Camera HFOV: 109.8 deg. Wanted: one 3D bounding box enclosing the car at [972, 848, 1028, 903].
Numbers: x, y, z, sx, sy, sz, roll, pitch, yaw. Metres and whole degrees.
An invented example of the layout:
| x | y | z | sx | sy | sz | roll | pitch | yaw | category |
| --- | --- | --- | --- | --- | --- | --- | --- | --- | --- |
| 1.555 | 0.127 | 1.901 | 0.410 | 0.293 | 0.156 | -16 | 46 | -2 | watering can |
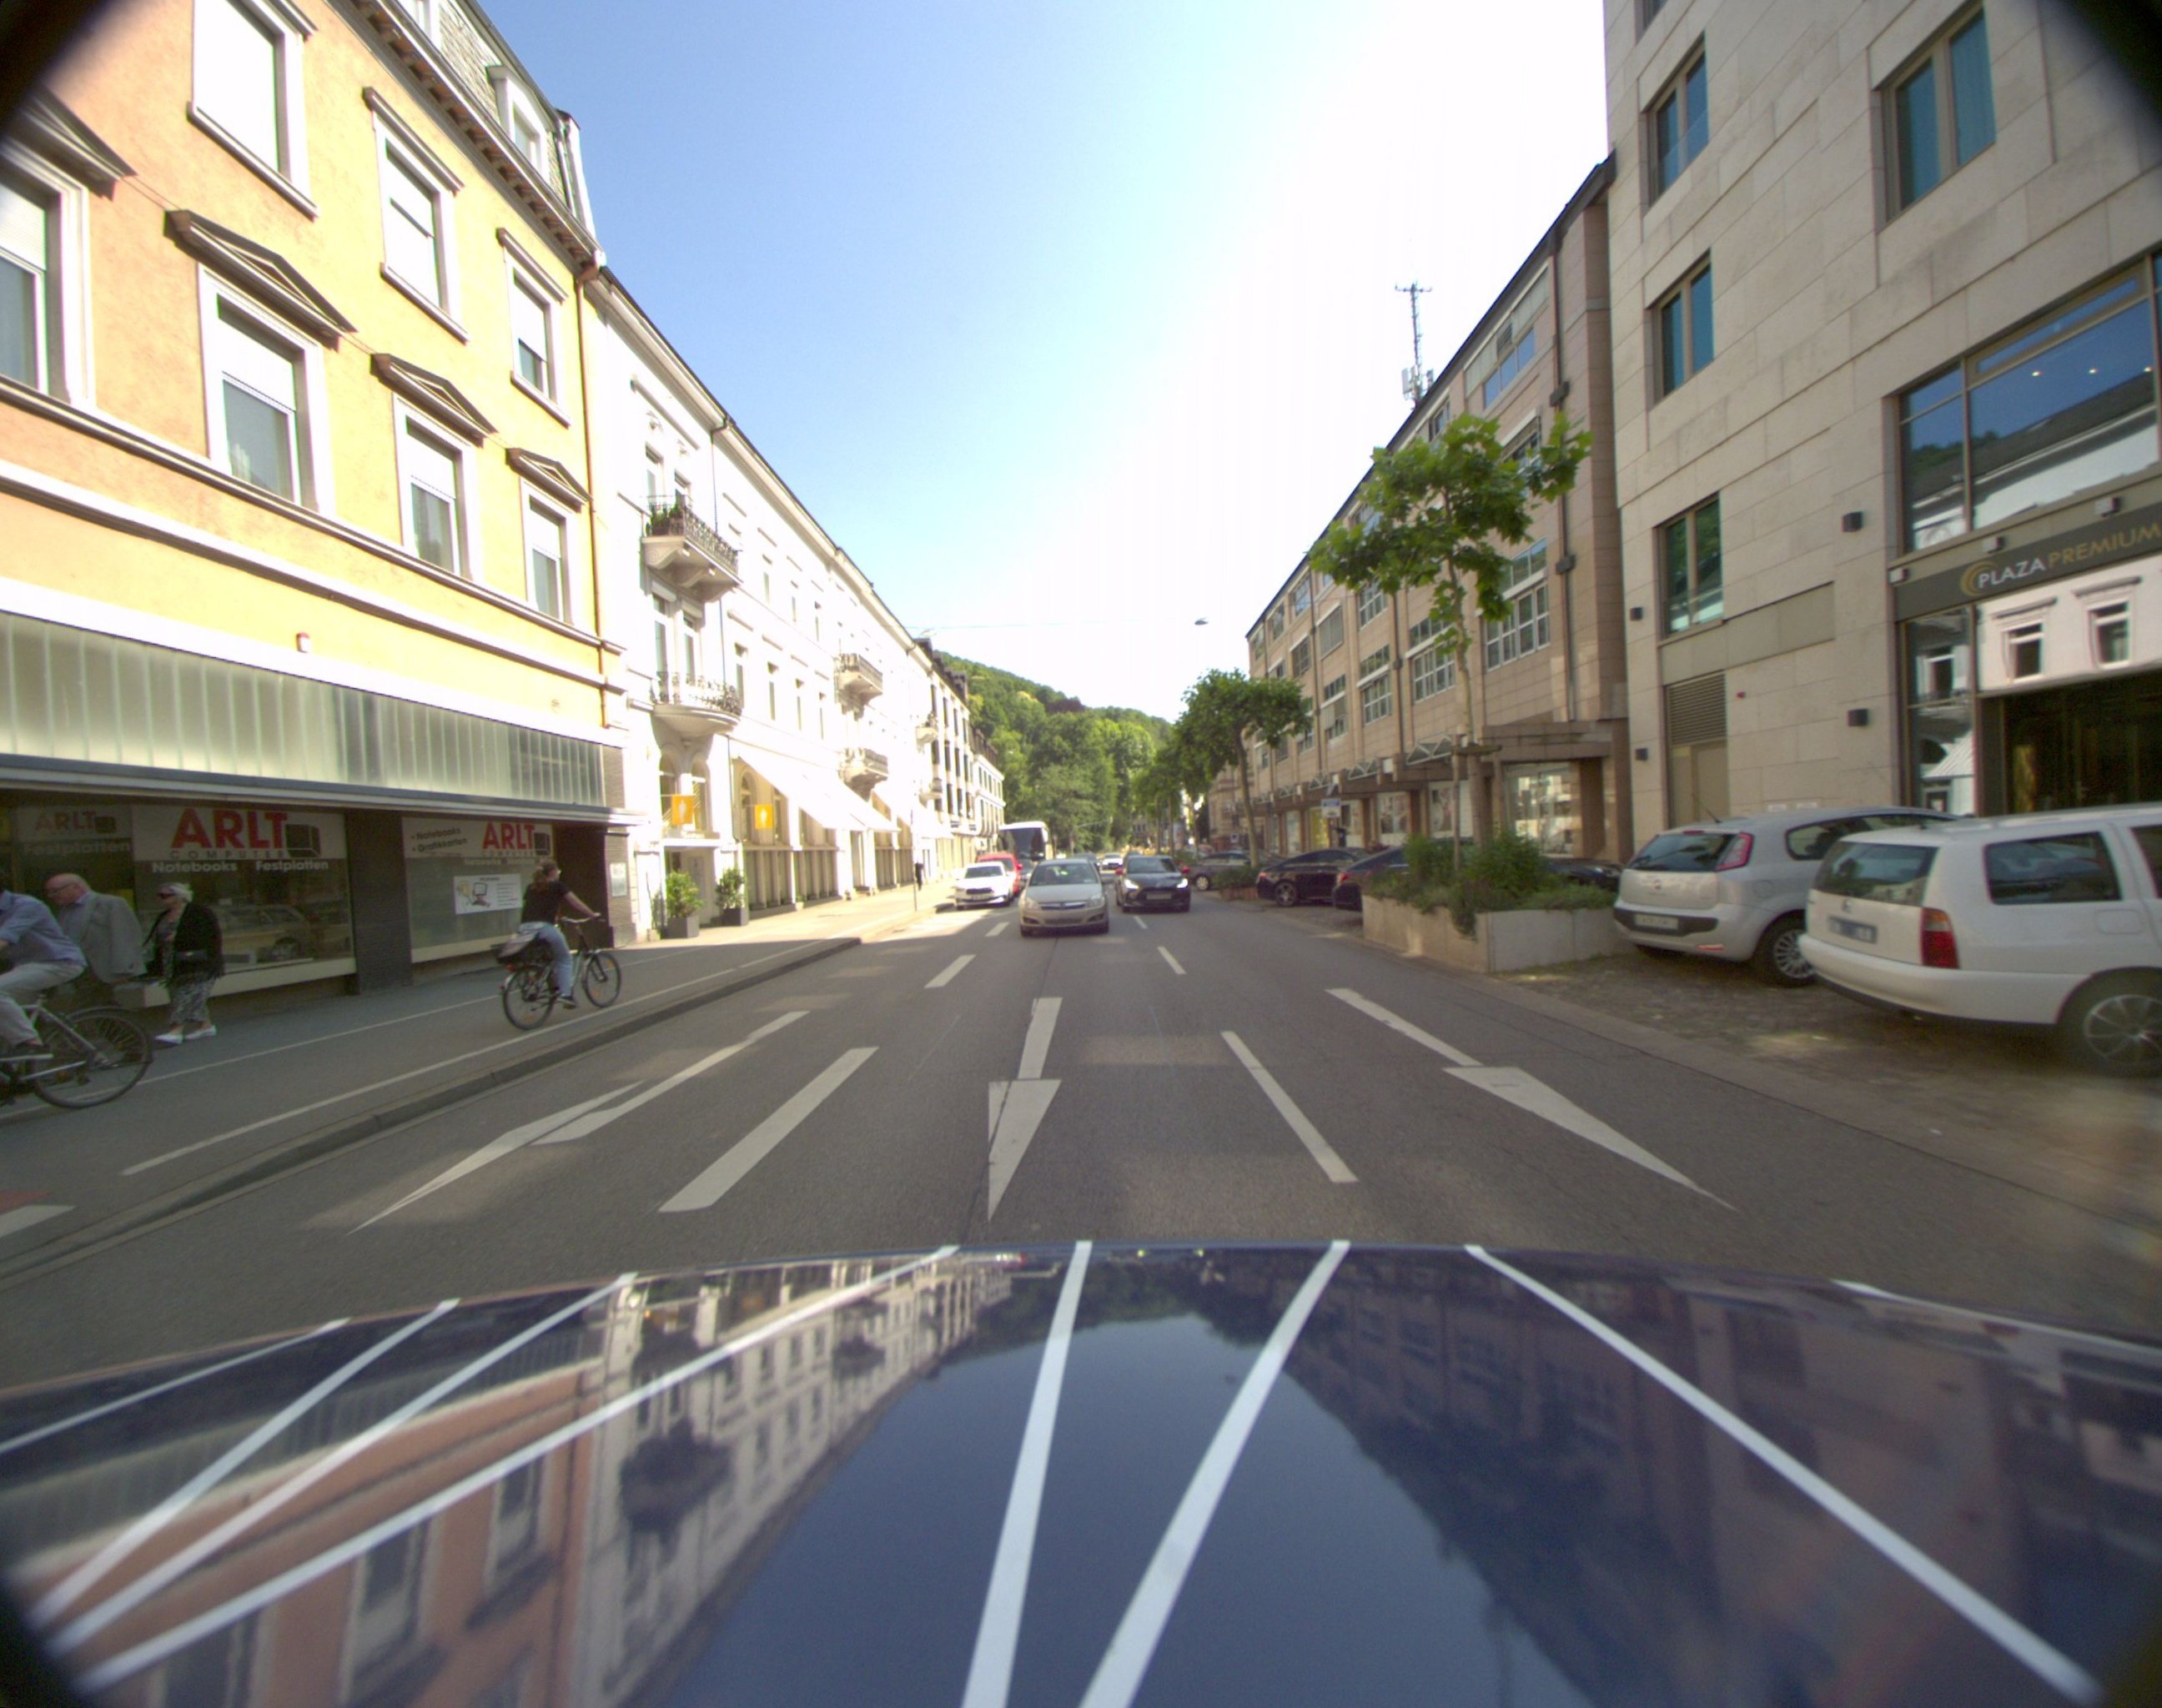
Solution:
| x | y | z | sx | sy | sz | roll | pitch | yaw | category |
| --- | --- | --- | --- | --- | --- | --- | --- | --- | --- |
| -3.271 | 0.851 | 31.456 | 1.703 | 1.900 | 4.607 | -7 | 0 | -1 | car |

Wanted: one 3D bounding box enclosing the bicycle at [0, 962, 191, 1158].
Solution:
| x | y | z | sx | sy | sz | roll | pitch | yaw | category |
| --- | --- | --- | --- | --- | --- | --- | --- | --- | --- |
| -7.338 | 1.413 | 4.962 | 0.748 | 1.111 | 1.918 | -2 | 0 | -1 | bicycle |

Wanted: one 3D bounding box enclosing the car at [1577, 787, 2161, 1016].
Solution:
| x | y | z | sx | sy | sz | roll | pitch | yaw | category |
| --- | --- | --- | --- | --- | --- | --- | --- | --- | --- |
| 7.401 | 0.368 | 7.302 | 3.997 | 1.519 | 1.819 | -6 | 2 | 0 | car |

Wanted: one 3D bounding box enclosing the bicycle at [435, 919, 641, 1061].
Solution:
| x | y | z | sx | sy | sz | roll | pitch | yaw | category |
| --- | --- | --- | --- | --- | --- | --- | --- | --- | --- |
| -5.667 | 1.359 | 8.128 | 0.596 | 1.120 | 2.094 | -1 | 1 | 2 | bicycle |

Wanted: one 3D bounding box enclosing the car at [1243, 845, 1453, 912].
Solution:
| x | y | z | sx | sy | sz | roll | pitch | yaw | category |
| --- | --- | --- | --- | --- | --- | --- | --- | --- | --- |
| 6.531 | 0.597 | 18.959 | 4.609 | 1.438 | 1.736 | -2 | 1 | 45 | car |

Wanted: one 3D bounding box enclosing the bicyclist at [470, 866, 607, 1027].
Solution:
| x | y | z | sx | sy | sz | roll | pitch | yaw | category |
| --- | --- | --- | --- | --- | --- | --- | --- | --- | --- |
| -5.689 | 0.939 | 8.023 | 0.747 | 1.564 | 0.844 | -2 | 1 | 1 | bicyclist |

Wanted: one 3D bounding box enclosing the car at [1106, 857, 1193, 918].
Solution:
| x | y | z | sx | sy | sz | roll | pitch | yaw | category |
| --- | --- | --- | --- | --- | --- | --- | --- | --- | --- |
| 1.749 | 0.841 | 20.630 | 1.868 | 1.469 | 4.106 | -1 | -1 | -1 | car |

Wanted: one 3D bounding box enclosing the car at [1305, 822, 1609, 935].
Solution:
| x | y | z | sx | sy | sz | roll | pitch | yaw | category |
| --- | --- | --- | --- | --- | --- | --- | --- | --- | --- |
| 6.633 | 0.477 | 13.694 | 4.521 | 1.496 | 1.795 | -7 | 1 | 31 | car |

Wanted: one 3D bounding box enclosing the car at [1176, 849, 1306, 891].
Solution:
| x | y | z | sx | sy | sz | roll | pitch | yaw | category |
| --- | --- | --- | --- | --- | --- | --- | --- | --- | --- |
| 6.016 | 0.617 | 28.845 | 4.392 | 1.438 | 1.890 | -2 | 0 | 40 | car |

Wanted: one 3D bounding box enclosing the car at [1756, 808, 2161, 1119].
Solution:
| x | y | z | sx | sy | sz | roll | pitch | yaw | category |
| --- | --- | --- | --- | --- | --- | --- | --- | --- | --- |
| 7.150 | 0.439 | 4.311 | 4.493 | 1.424 | 1.865 | -8 | 0 | 21 | car |

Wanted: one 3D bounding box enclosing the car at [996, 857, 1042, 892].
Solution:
| x | y | z | sx | sy | sz | roll | pitch | yaw | category |
| --- | --- | --- | --- | --- | --- | --- | --- | --- | --- |
| -2.915 | 0.925 | 36.466 | 1.868 | 1.479 | 4.414 | -3 | 0 | -1 | car |

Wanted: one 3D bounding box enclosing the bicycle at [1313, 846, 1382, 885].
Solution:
| x | y | z | sx | sy | sz | roll | pitch | yaw | category |
| --- | --- | --- | --- | --- | --- | --- | --- | --- | --- |
| 8.779 | 0.373 | 25.061 | 2.001 | 1.096 | 0.476 | -5 | 1 | 2 | bicycle |

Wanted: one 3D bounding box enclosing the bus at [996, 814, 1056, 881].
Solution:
| x | y | z | sx | sy | sz | roll | pitch | yaw | category |
| --- | --- | --- | --- | --- | --- | --- | --- | --- | --- |
| -3.172 | -0.444 | 47.339 | 2.924 | 3.516 | 12.497 | -2 | 1 | -1 | bus |

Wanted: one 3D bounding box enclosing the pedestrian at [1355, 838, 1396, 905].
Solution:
| x | y | z | sx | sy | sz | roll | pitch | yaw | category |
| --- | --- | --- | --- | --- | --- | --- | --- | --- | --- |
| 8.515 | 0.494 | 22.013 | 0.840 | 1.868 | 0.844 | -2 | 1 | 1 | pedestrian |

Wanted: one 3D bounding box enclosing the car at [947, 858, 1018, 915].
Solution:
| x | y | z | sx | sy | sz | roll | pitch | yaw | category |
| --- | --- | --- | --- | --- | --- | --- | --- | --- | --- |
| -3.237 | 1.015 | 25.742 | 1.799 | 1.516 | 4.262 | -6 | 1 | -2 | car |

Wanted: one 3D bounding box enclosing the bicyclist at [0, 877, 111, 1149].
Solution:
| x | y | z | sx | sy | sz | roll | pitch | yaw | category |
| --- | --- | --- | --- | --- | --- | --- | --- | --- | --- |
| -7.368 | 1.039 | 4.944 | 0.910 | 1.707 | 0.844 | -2 | 1 | -1 | bicyclist |

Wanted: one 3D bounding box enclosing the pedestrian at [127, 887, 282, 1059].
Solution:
| x | y | z | sx | sy | sz | roll | pitch | yaw | category |
| --- | --- | --- | --- | --- | --- | --- | --- | --- | --- |
| -9.236 | 1.214 | 8.047 | 0.522 | 1.656 | 0.844 | -3 | 1 | 1 | pedestrian |

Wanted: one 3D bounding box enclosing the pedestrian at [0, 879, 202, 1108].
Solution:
| x | y | z | sx | sy | sz | roll | pitch | yaw | category |
| --- | --- | --- | --- | --- | --- | --- | --- | --- | --- |
| -8.390 | 1.130 | 6.454 | 0.840 | 1.781 | 0.767 | -2 | 1 | 1 | pedestrian |

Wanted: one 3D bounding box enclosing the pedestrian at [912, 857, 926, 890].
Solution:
| x | y | z | sx | sy | sz | roll | pitch | yaw | category |
| --- | --- | --- | --- | --- | --- | --- | --- | --- | --- |
| -8.332 | 1.007 | 39.084 | 0.482 | 1.659 | 0.868 | -3 | 1 | 0 | pedestrian |

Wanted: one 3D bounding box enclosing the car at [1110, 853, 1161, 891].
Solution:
| x | y | z | sx | sy | sz | roll | pitch | yaw | category |
| --- | --- | --- | --- | --- | --- | --- | --- | --- | --- |
| 2.311 | 0.731 | 32.962 | 1.734 | 1.389 | 4.105 | -4 | 1 | -1 | car |

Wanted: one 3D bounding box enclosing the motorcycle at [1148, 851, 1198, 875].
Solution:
| x | y | z | sx | sy | sz | roll | pitch | yaw | category |
| --- | --- | --- | --- | --- | --- | --- | --- | --- | --- |
| 5.573 | 0.569 | 46.097 | 0.980 | 1.342 | 3.095 | -3 | 1 | -42 | motorcycle |

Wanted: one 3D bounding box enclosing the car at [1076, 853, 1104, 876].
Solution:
| x | y | z | sx | sy | sz | roll | pitch | yaw | category |
| --- | --- | --- | --- | --- | --- | --- | --- | --- | --- |
| 0.610 | 0.679 | 51.476 | 1.775 | 1.469 | 4.107 | -1 | -1 | 1 | car |

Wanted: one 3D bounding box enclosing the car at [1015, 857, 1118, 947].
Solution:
| x | y | z | sx | sy | sz | roll | pitch | yaw | category |
| --- | --- | --- | --- | --- | --- | --- | --- | --- | --- |
| -0.312 | 0.882 | 15.977 | 1.791 | 1.484 | 4.367 | -3 | 1 | -1 | car |

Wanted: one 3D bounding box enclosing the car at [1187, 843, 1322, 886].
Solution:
| x | y | z | sx | sy | sz | roll | pitch | yaw | category |
| --- | --- | --- | --- | --- | --- | --- | --- | --- | --- |
| 7.125 | 0.470 | 31.574 | 5.120 | 1.623 | 1.847 | -2 | 0 | 40 | car |

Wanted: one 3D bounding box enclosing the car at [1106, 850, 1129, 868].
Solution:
| x | y | z | sx | sy | sz | roll | pitch | yaw | category |
| --- | --- | --- | --- | --- | --- | --- | --- | --- | --- |
| 3.018 | 0.427 | 63.973 | 1.733 | 1.389 | 4.106 | -3 | 0 | 1 | car |
